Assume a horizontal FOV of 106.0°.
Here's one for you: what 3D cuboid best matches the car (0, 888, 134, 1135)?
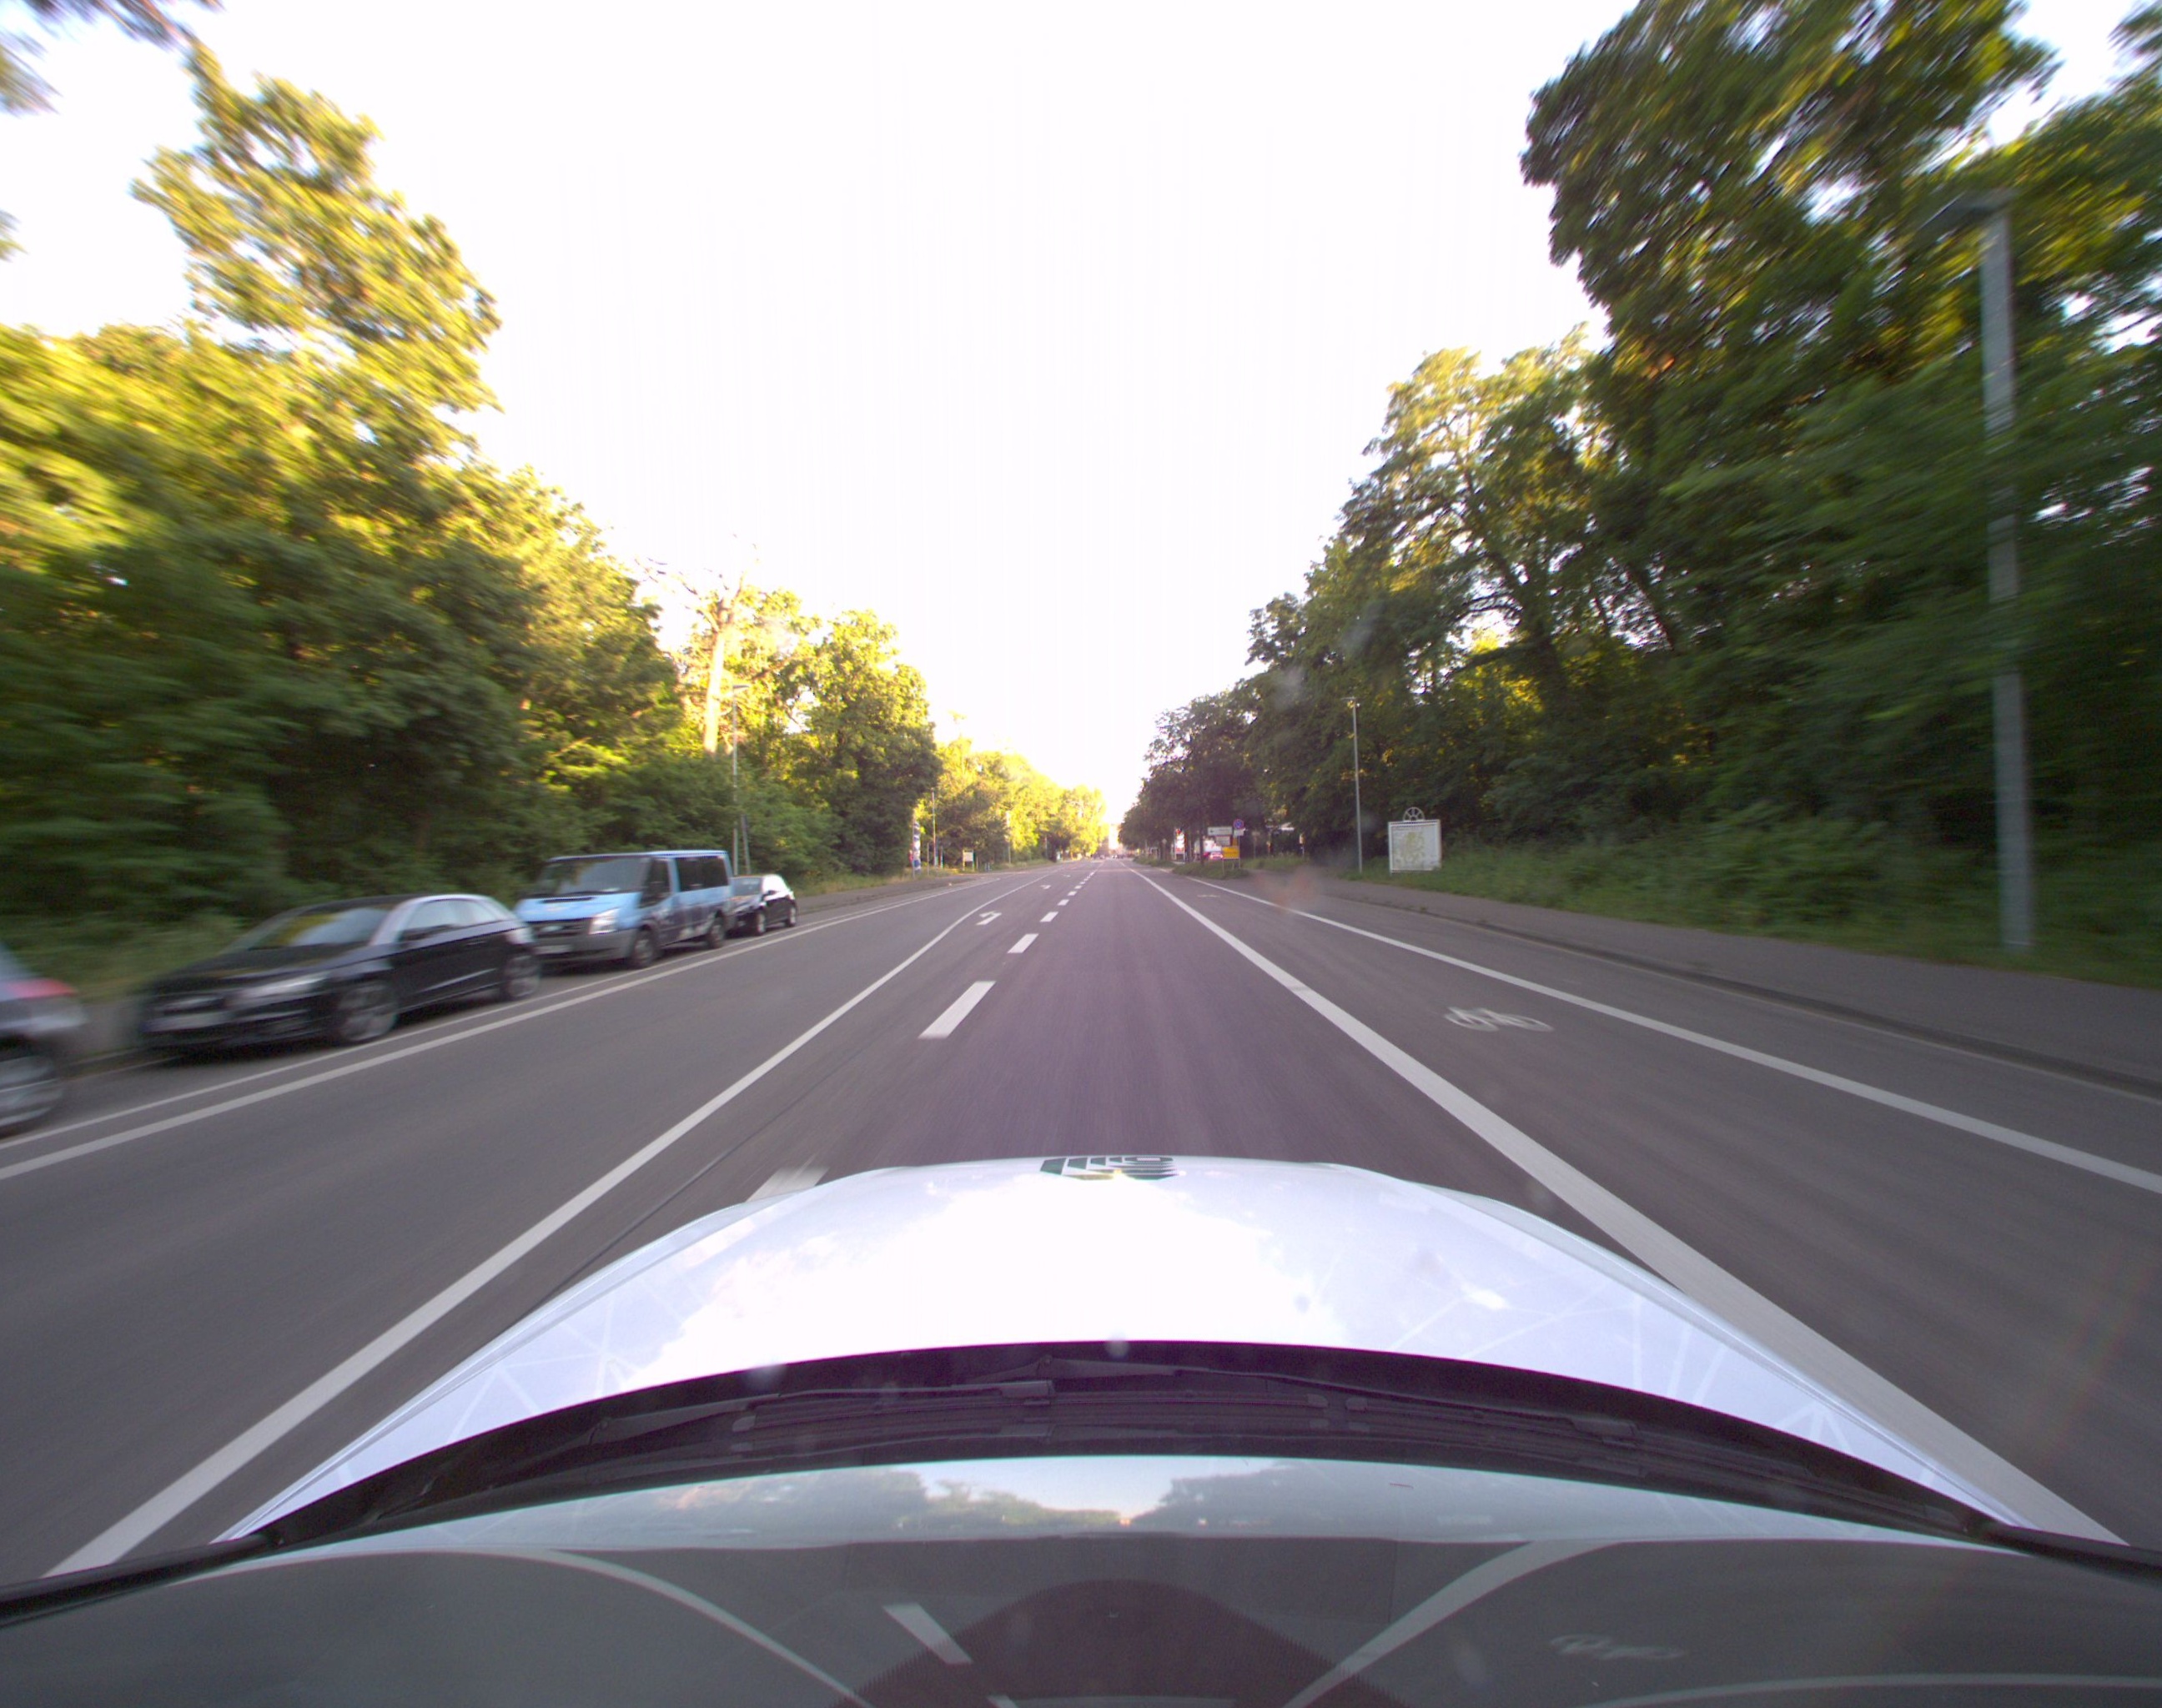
[{"bbox_3d":[-7.622,1.057,3.846,1.613,1.534,4.035,-3,0,-3],"label":"car"}]

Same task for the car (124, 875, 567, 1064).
[{"bbox_3d":[-7.795,1.075,9.248,1.539,1.493,3.966,-3,0,-4],"label":"car"}]

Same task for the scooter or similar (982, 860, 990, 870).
[{"bbox_3d":[-10.968,1.305,94.334,0.357,1.110,0.885,-2,0,44],"label":"scooter or similar"}]

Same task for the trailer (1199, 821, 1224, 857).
[{"bbox_3d":[20.427,-2.299,127.967,3.008,5.462,7.940,-2,0,3],"label":"trailer"}]

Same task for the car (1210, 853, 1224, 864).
[{"bbox_3d":[19.270,0.609,115.472,1.761,1.583,4.827,0,0,6],"label":"car"}]

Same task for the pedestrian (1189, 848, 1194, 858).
[{"bbox_3d":[18.760,-0.163,138.012,0.753,1.798,0.708,-1,0,5],"label":"pedestrian"}]

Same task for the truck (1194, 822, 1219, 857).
[{"bbox_3d":[20.768,-2.347,134.895,3.021,5.455,8.416,-2,1,3],"label":"truck"}]

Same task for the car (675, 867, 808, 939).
[{"bbox_3d":[-8.374,1.148,20.502,1.683,1.462,4.238,-3,0,-3],"label":"car"}]

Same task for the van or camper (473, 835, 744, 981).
[{"bbox_3d":[-8.211,0.818,14.888,2.026,2.094,5.010,-3,0,-2],"label":"van or camper"}]
